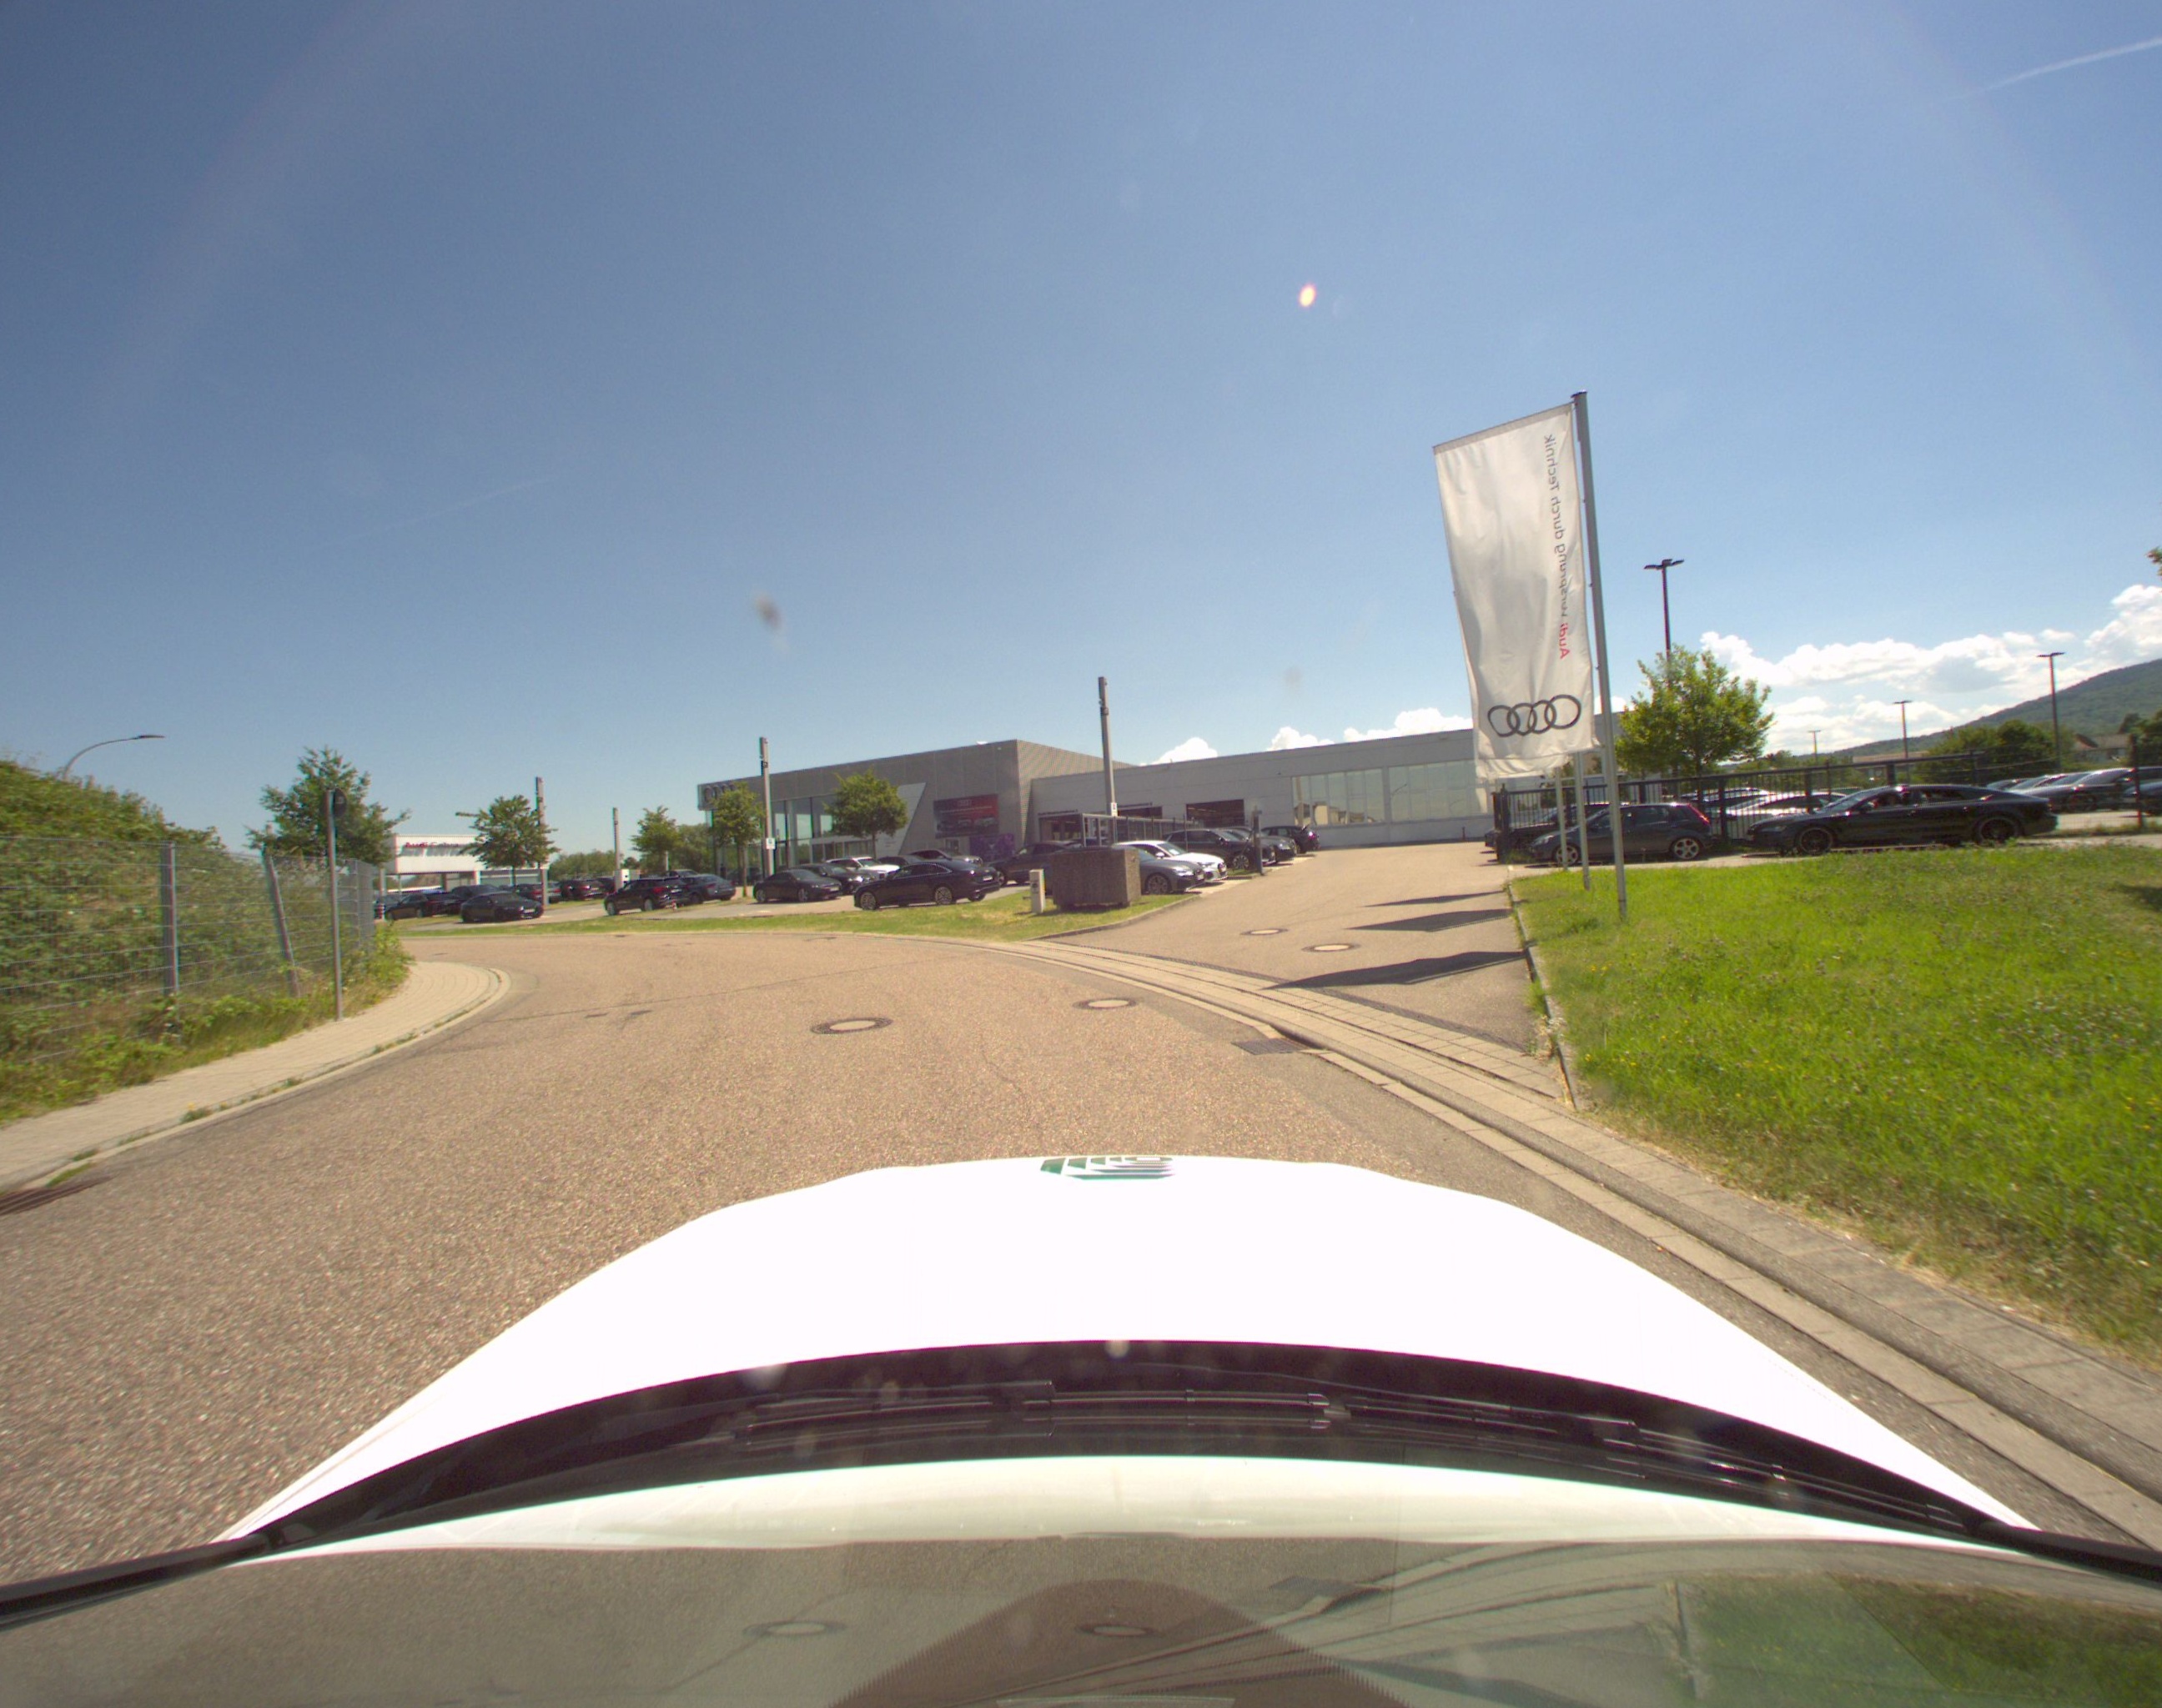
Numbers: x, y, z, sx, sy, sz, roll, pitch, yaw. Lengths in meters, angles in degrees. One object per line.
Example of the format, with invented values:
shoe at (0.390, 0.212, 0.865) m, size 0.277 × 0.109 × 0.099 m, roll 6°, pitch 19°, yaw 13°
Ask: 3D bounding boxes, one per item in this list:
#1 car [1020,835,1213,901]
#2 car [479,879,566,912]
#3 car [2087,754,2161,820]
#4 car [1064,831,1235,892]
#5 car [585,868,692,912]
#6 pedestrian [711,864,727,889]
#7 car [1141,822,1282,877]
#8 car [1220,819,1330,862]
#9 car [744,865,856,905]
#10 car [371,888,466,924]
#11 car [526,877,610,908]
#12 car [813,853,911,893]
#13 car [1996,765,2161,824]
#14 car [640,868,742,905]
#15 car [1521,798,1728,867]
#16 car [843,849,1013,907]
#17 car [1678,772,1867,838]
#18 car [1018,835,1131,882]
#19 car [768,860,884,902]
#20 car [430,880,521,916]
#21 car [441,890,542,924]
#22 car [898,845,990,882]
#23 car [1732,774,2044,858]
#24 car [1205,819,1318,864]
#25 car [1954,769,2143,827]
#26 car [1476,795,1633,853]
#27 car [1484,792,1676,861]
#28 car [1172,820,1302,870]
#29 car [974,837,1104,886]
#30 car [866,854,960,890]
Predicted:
car at (0.978, 0.395, 22.771) m, size 4.883 × 1.467 × 1.979 m, roll -4°, pitch 1°, yaw 25°
car at (-33.195, 2.449, 48.386) m, size 4.923 × 1.456 × 1.980 m, roll -6°, pitch 0°, yaw 26°
car at (30.951, -1.955, 21.891) m, size 4.424 × 1.688 × 2.011 m, roll -4°, pitch -1°, yaw 21°
car at (2.110, 0.242, 25.315) m, size 4.883 × 1.528 × 1.836 m, roll -4°, pitch 1°, yaw 25°
car at (-19.495, 1.576, 35.892) m, size 4.175 × 1.571 × 1.905 m, roll -4°, pitch 2°, yaw 25°
pedestrian at (-27.465, 1.689, 61.783) m, size 0.735 × 1.776 × 0.778 m, roll -4°, pitch -1°, yaw 31°
car at (4.738, -0.150, 29.550) m, size 4.569 × 1.630 × 1.979 m, roll -4°, pitch 1°, yaw 25°
car at (9.043, -0.637, 37.927) m, size 4.569 × 1.630 × 1.979 m, roll -4°, pitch 1°, yaw 25°
car at (-12.068, 1.343, 34.959) m, size 4.258 × 1.374 × 1.979 m, roll -4°, pitch 1°, yaw 25°
car at (-35.668, 2.788, 43.857) m, size 4.923 × 1.456 × 1.980 m, roll -6°, pitch 0°, yaw 26°
car at (-31.808, 2.388, 50.501) m, size 4.923 × 1.456 × 1.980 m, roll -6°, pitch 0°, yaw 26°
car at (-10.759, 0.931, 40.036) m, size 4.235 × 1.613 × 1.979 m, roll -4°, pitch 1°, yaw 25°
car at (33.067, -1.927, 26.388) m, size 3.951 × 1.556 × 2.125 m, roll -4°, pitch -1°, yaw 24°
car at (-18.193, 1.527, 38.026) m, size 4.175 × 1.366 × 1.980 m, roll -4°, pitch 2°, yaw 25°
car at (13.406, -0.508, 20.429) m, size 4.093 × 1.349 × 1.791 m, roll -4°, pitch 0°, yaw 28°
car at (-4.829, 0.765, 25.613) m, size 4.961 × 1.454 × 1.897 m, roll -4°, pitch 2°, yaw 25°
car at (21.727, -1.478, 25.811) m, size 4.161 × 1.630 × 1.806 m, roll -5°, pitch -1°, yaw 25°
car at (-0.293, 0.191, 34.740) m, size 4.362 × 1.694 × 1.841 m, roll -4°, pitch -1°, yaw 25°
car at (-11.777, 1.240, 37.624) m, size 4.943 × 1.553 × 1.979 m, roll -4°, pitch 1°, yaw 25°
car at (-34.533, 2.518, 46.420) m, size 4.923 × 1.598 × 1.980 m, roll -6°, pitch 0°, yaw 26°
car at (-29.114, 2.609, 40.230) m, size 4.661 × 1.366 × 1.980 m, roll -3°, pitch 3°, yaw 26°
car at (-7.757, 0.561, 46.059) m, size 4.670 × 1.739 × 1.979 m, roll -4°, pitch 1°, yaw 25°
car at (17.494, -0.787, 18.012) m, size 4.515 × 1.401 × 1.791 m, roll -4°, pitch 0°, yaw 28°
car at (7.815, -0.543, 35.198) m, size 4.323 × 1.630 × 1.979 m, roll -4°, pitch 1°, yaw 25°
car at (35.545, -2.008, 30.085) m, size 3.952 × 1.688 × 2.011 m, roll -4°, pitch -1°, yaw 21°
car at (16.575, -1.035, 28.812) m, size 4.569 × 1.630 × 1.979 m, roll -4°, pitch 1°, yaw 25°
car at (14.511, -0.793, 24.030) m, size 4.569 × 1.630 × 1.979 m, roll -4°, pitch 1°, yaw 25°
car at (6.144, -0.344, 32.068) m, size 4.569 × 1.630 × 1.979 m, roll -4°, pitch 1°, yaw 25°
car at (-1.690, 0.290, 32.399) m, size 4.726 × 1.643 × 1.841 m, roll -4°, pitch -1°, yaw 25°
car at (-8.690, 0.930, 42.080) m, size 4.318 × 1.476 × 1.979 m, roll -4°, pitch 1°, yaw 25°
